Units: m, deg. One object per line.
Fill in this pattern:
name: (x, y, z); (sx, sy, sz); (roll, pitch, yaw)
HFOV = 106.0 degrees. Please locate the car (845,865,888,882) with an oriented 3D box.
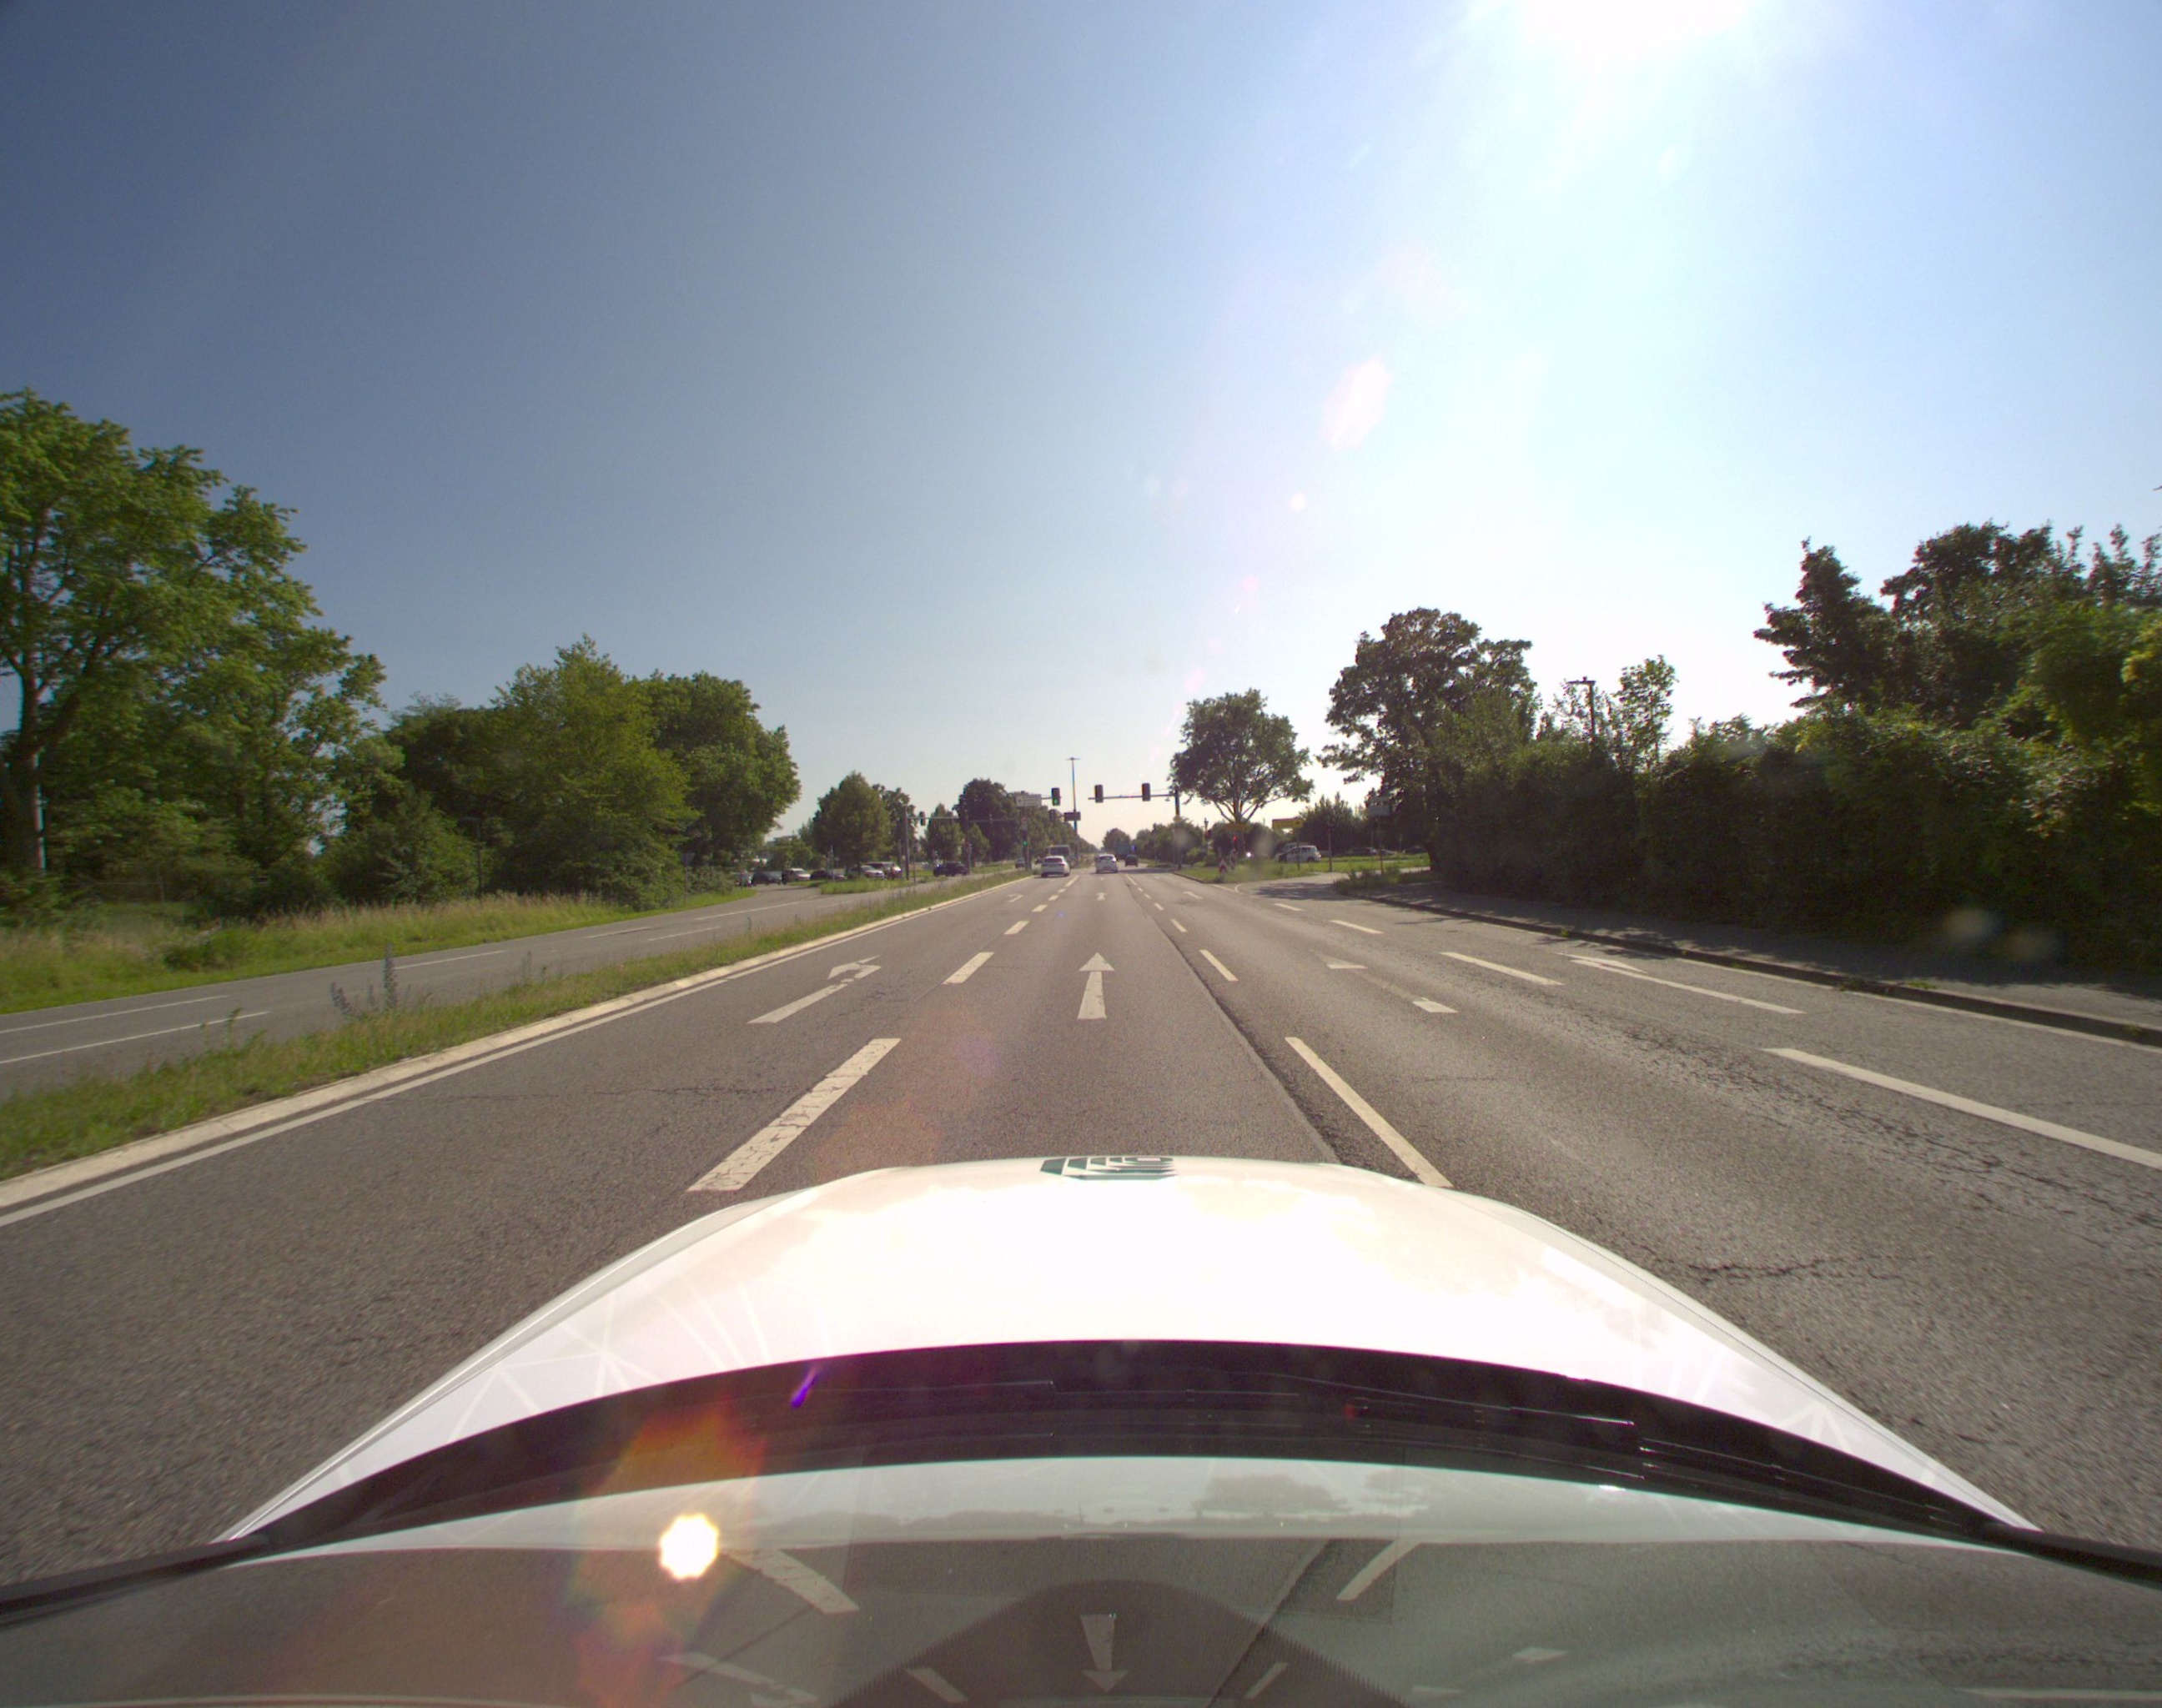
car: (-22.379, 2.026, 84.834); (4.212, 1.606, 2.018); (-3, 0, 37)

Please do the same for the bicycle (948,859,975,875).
bicycle: (-13.510, 1.441, 91.854); (2.765, 1.670, 1.143); (-3, 0, 29)

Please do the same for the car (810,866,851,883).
car: (-27.212, 2.262, 88.454); (4.212, 1.606, 2.018); (-3, 0, 37)

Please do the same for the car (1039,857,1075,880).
car: (-1.654, 0.992, 57.840); (1.803, 1.464, 4.980); (-3, 0, 7)

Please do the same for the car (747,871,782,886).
car: (-37.420, 2.898, 96.300); (4.072, 1.512, 1.932); (-3, 0, 37)

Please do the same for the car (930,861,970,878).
car: (-13.982, 1.635, 86.898); (3.948, 1.649, 1.926); (-2, -1, 36)

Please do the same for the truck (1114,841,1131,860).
truck: (7.954, -0.665, 156.707); (2.881, 3.428, 9.173); (-3, 0, 2)

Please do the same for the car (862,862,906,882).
car: (-21.382, 1.912, 88.268); (4.595, 1.950, 2.013); (-3, 0, 36)

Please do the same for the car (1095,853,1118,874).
car: (2.038, 0.707, 64.171); (1.791, 1.552, 4.003); (-1, 0, 2)

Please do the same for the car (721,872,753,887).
car: (-42.107, 3.156, 99.693); (4.214, 1.606, 2.017); (-3, 0, 44)

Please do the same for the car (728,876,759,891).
car: (-37.909, 3.329, 91.506); (2.010, 1.495, 4.234); (-4, 0, -39)

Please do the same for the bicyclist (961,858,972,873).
bicyclist: (-12.896, 1.268, 91.510); (0.854, 1.618, 0.763); (-2, -1, 29)

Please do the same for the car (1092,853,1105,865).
car: (2.266, 0.666, 104.083); (1.566, 1.414, 3.279); (-3, 0, 2)

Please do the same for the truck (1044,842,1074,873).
truck: (-1.919, 0.276, 70.357); (2.368, 2.389, 6.035); (-3, 0, -2)

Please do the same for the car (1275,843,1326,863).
car: (17.811, -0.052, 66.134); (3.708, 1.469, 1.796); (-2, 0, 26)

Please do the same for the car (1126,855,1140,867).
car: (6.402, 0.814, 100.829); (1.566, 1.414, 3.279); (-2, -1, 2)

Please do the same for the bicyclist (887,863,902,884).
bicyclist: (-14.054, 1.470, 61.411); (0.842, 1.517, 0.748); (-2, 0, 7)

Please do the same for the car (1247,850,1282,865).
car: (19.585, 0.411, 86.982); (1.625, 1.547, 3.789); (0, -2, -28)

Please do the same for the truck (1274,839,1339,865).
truck: (22.586, -0.166, 81.989); (2.353, 2.386, 6.410); (1, -2, -31)

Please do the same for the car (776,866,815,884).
car: (-32.495, 2.439, 92.596); (4.448, 1.800, 2.018); (-3, 0, 37)

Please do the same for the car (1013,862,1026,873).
car: (-9.011, 1.909, 119.749); (1.480, 1.414, 3.764); (-5, 0, 2)

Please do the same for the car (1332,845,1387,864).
car: (25.032, 0.066, 73.333); (1.895, 1.635, 4.418); (1, -1, -37)
